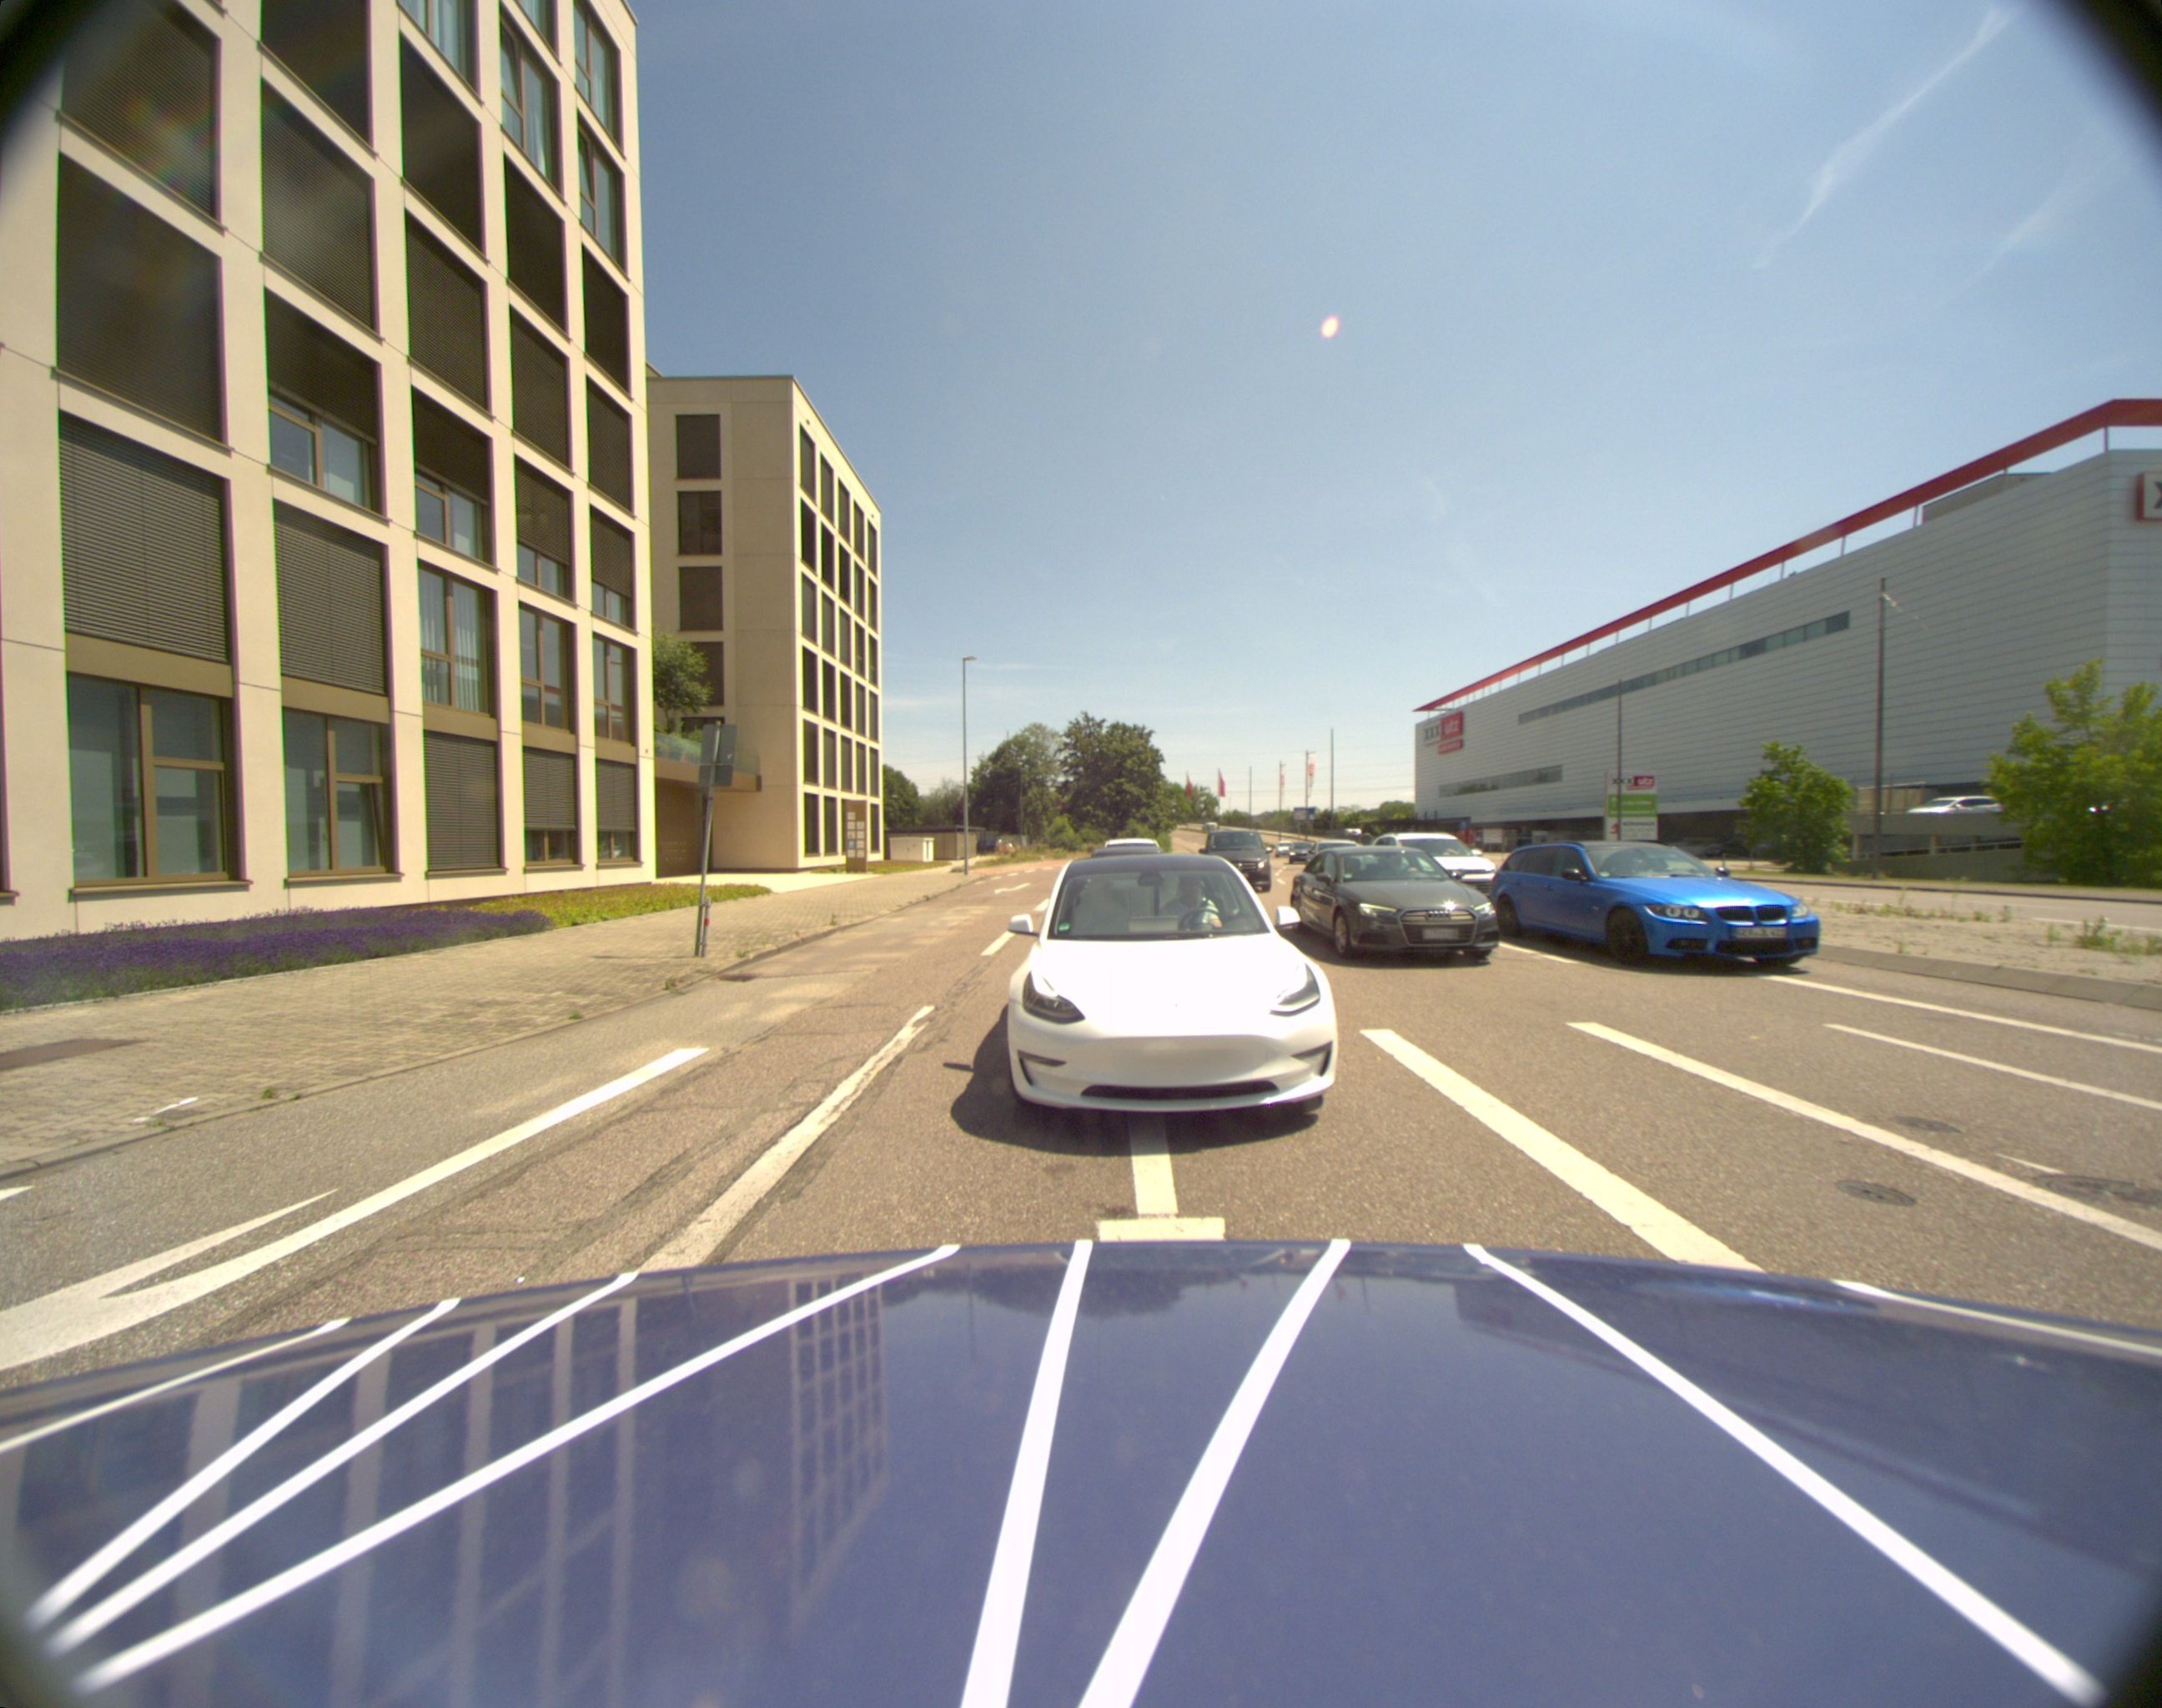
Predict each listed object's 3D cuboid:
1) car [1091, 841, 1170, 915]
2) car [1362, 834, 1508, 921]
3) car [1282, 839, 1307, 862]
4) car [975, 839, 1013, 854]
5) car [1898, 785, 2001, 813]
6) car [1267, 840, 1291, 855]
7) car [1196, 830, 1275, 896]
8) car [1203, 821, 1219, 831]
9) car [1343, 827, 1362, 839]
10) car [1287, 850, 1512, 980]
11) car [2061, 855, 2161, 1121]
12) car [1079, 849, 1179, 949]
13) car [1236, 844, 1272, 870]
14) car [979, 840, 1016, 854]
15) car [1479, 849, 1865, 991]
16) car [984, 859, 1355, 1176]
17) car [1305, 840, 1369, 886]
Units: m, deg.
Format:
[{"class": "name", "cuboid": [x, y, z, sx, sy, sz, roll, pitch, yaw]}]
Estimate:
[{"class": "car", "cuboid": [1.266, 0.505, 19.068, 1.777, 1.600, 3.821, 0, 2, 5]}, {"class": "car", "cuboid": [7.668, 0.411, 16.933, 1.768, 1.632, 4.493, -2, 1, 9]}, {"class": "car", "cuboid": [15.393, -0.284, 54.710, 1.723, 1.543, 4.004, 0, 1, 16]}, {"class": "car", "cuboid": [-9.112, -0.776, 79.583, 3.834, 1.543, 1.736, -1, 1, -13]}, {"class": "car", "cuboid": [51.656, -3.256, 45.248, 3.996, 1.499, 1.717, 0, 1, 4]}, {"class": "car", "cuboid": [19.461, -0.669, 74.724, 1.725, 1.464, 4.001, 0, 1, 6]}, {"class": "car", "cuboid": [4.717, 0.199, 23.852, 1.895, 1.811, 4.837, -1, 1, 5]}, {"class": "car", "cuboid": [24.197, -5.167, 141.959, 1.868, 1.713, 4.039, -1, 1, -7]}, {"class": "car", "cuboid": [52.268, -4.077, 146.368, 2.191, 2.270, 4.814, 0, 1, 4]}, {"class": "car", "cuboid": [4.062, 0.674, 10.433, 1.768, 1.374, 4.091, -1, 1, 7]}, {"class": "car", "cuboid": [6.482, 0.715, 2.172, 1.675, 1.396, 4.467, -1, 0, 2]}, {"class": "car", "cuboid": [0.914, 0.692, 13.834, 1.556, 1.528, 3.821, 0, 1, 5]}, {"class": "car", "cuboid": [10.041, 0.138, 43.921, 1.605, 1.431, 3.738, 0, 1, 19]}, {"class": "car", "cuboid": [-8.983, -0.751, 81.650, 3.834, 1.386, 1.736, -1, 1, -13]}, {"class": "car", "cuboid": [7.090, 0.659, 9.856, 1.769, 1.395, 4.432, -1, 1, 4]}, {"class": "car", "cuboid": [0.482, 0.846, 5.982, 1.823, 1.428, 4.283, -2, 1, 1]}, {"class": "car", "cuboid": [8.803, 0.259, 26.387, 1.767, 1.414, 3.903, -2, 1, 14]}]
